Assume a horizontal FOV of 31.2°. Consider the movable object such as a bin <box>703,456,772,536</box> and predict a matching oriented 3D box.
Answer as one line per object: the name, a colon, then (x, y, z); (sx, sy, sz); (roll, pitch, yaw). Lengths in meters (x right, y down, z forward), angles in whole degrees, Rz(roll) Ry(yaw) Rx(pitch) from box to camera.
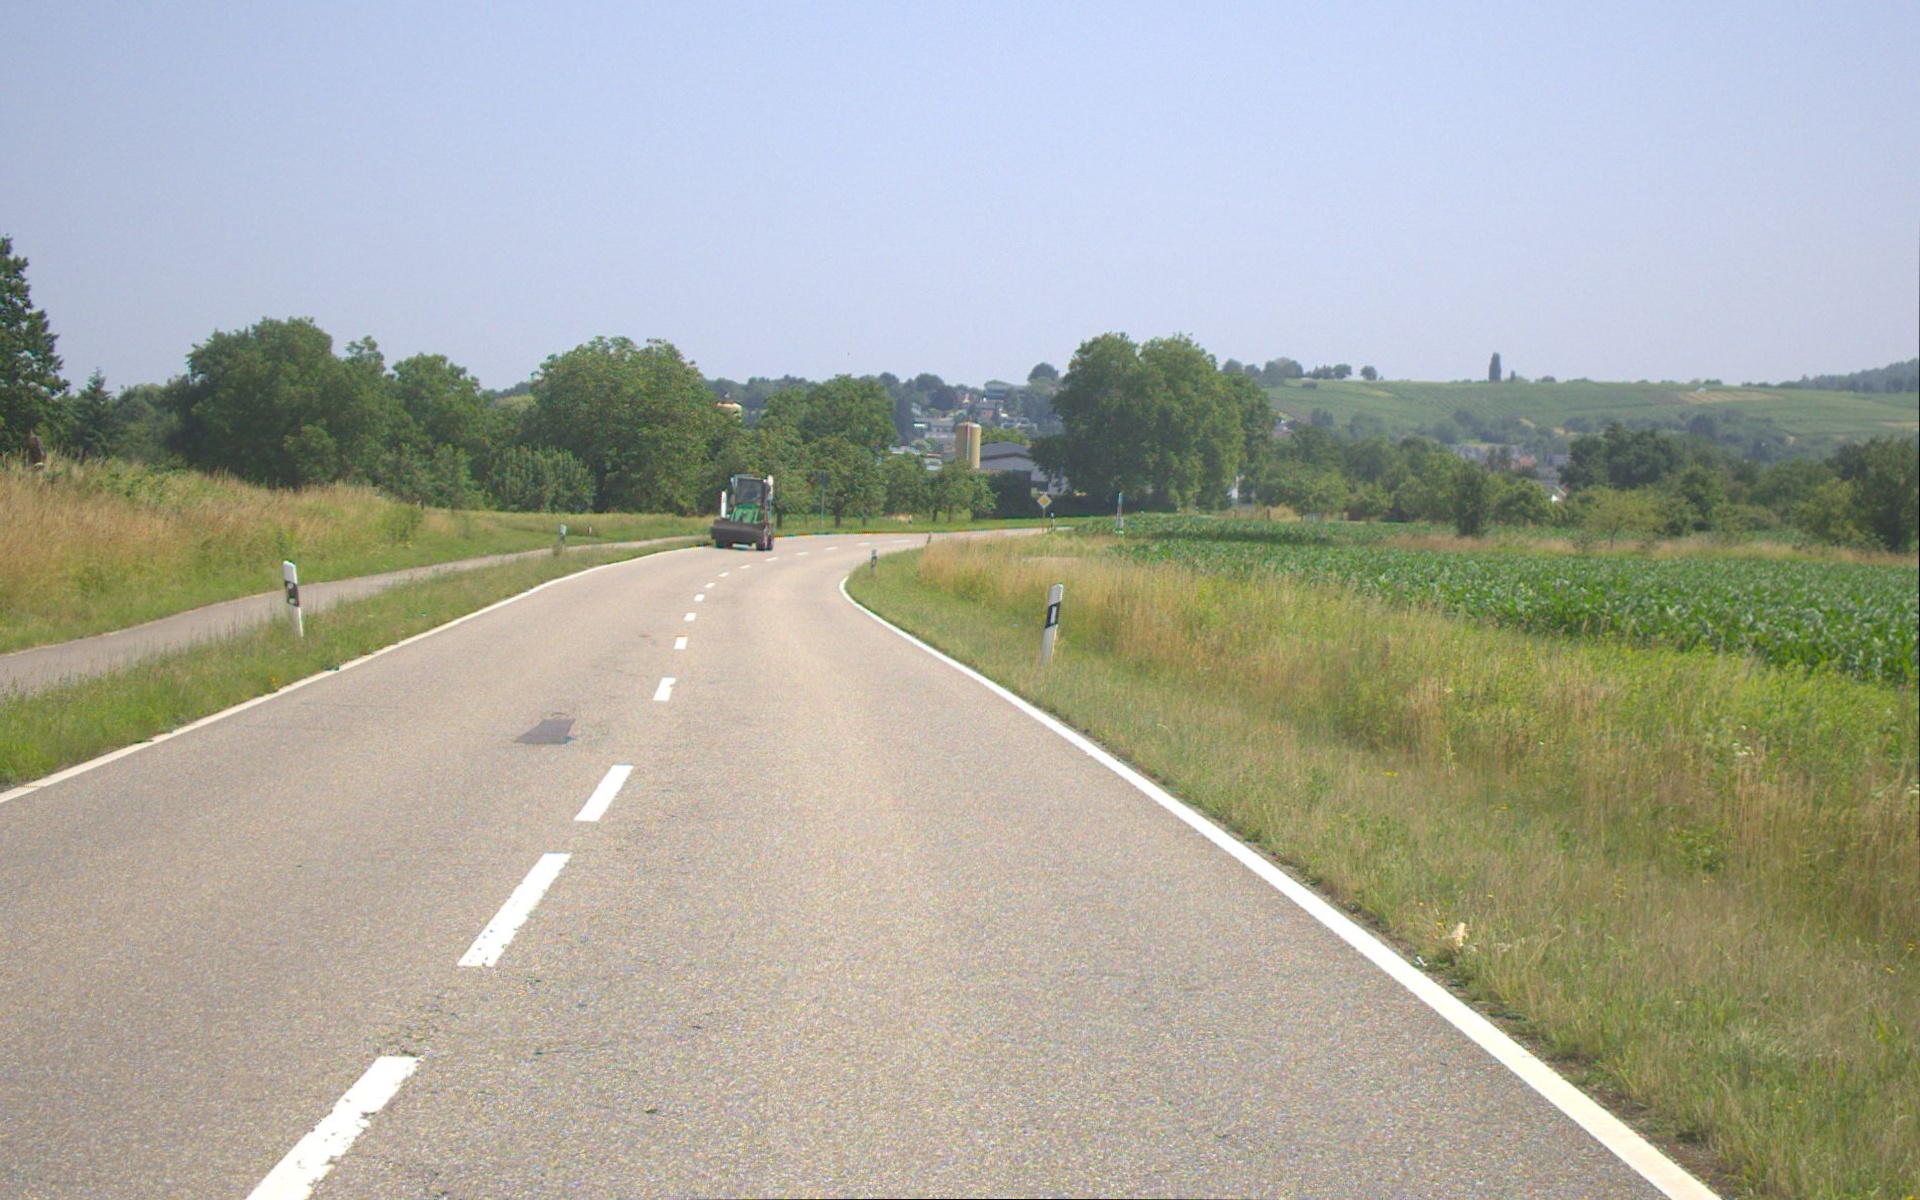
movable object such as a bin: (-8.157, -3.828, 126.524); (2.001, 2.745, 5.231); (5, 2, 0)
